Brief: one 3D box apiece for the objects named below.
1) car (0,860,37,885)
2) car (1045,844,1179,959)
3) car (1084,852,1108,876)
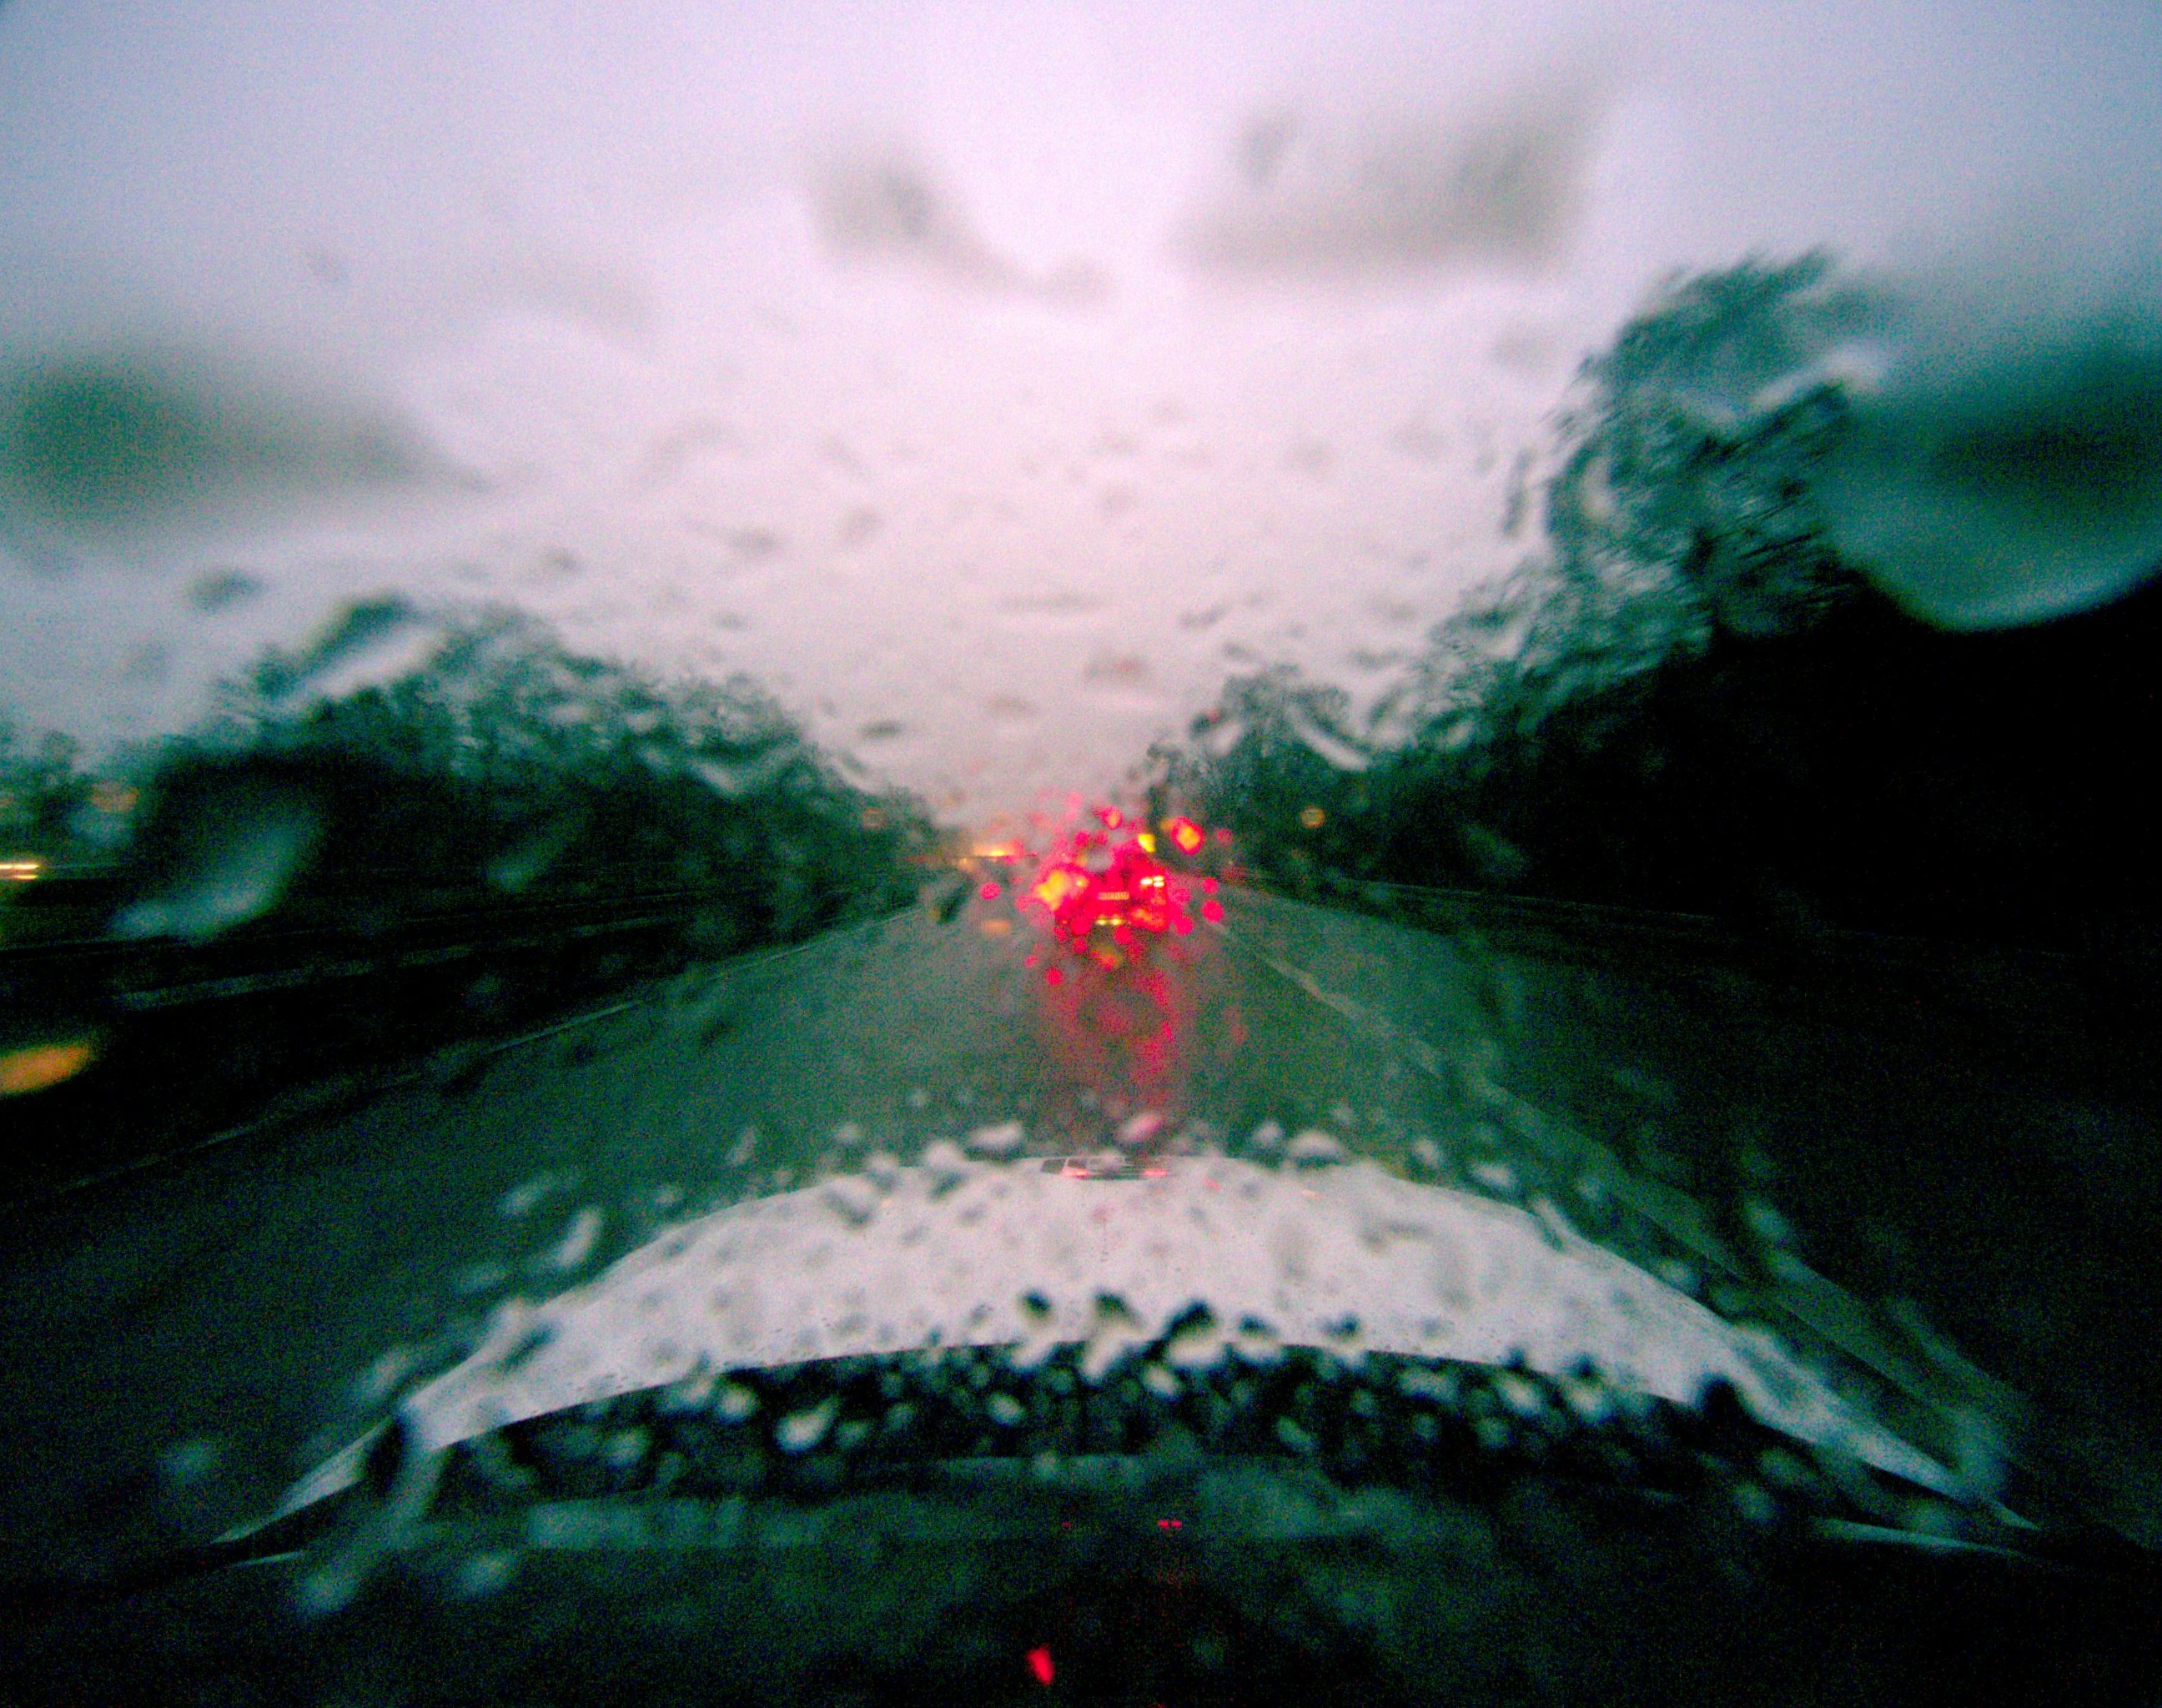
[{"bbox_3d":[-78.716,1.333,59.928,1.750,1.783,3.816,-2,1,-44],"label":"car"},{"bbox_3d":[0.505,0.717,14.172,1.985,1.715,3.830,-1,0,1],"label":"car"},{"bbox_3d":[1.259,0.849,70.478,1.987,2.013,4.000,-1,0,1],"label":"car"}]
